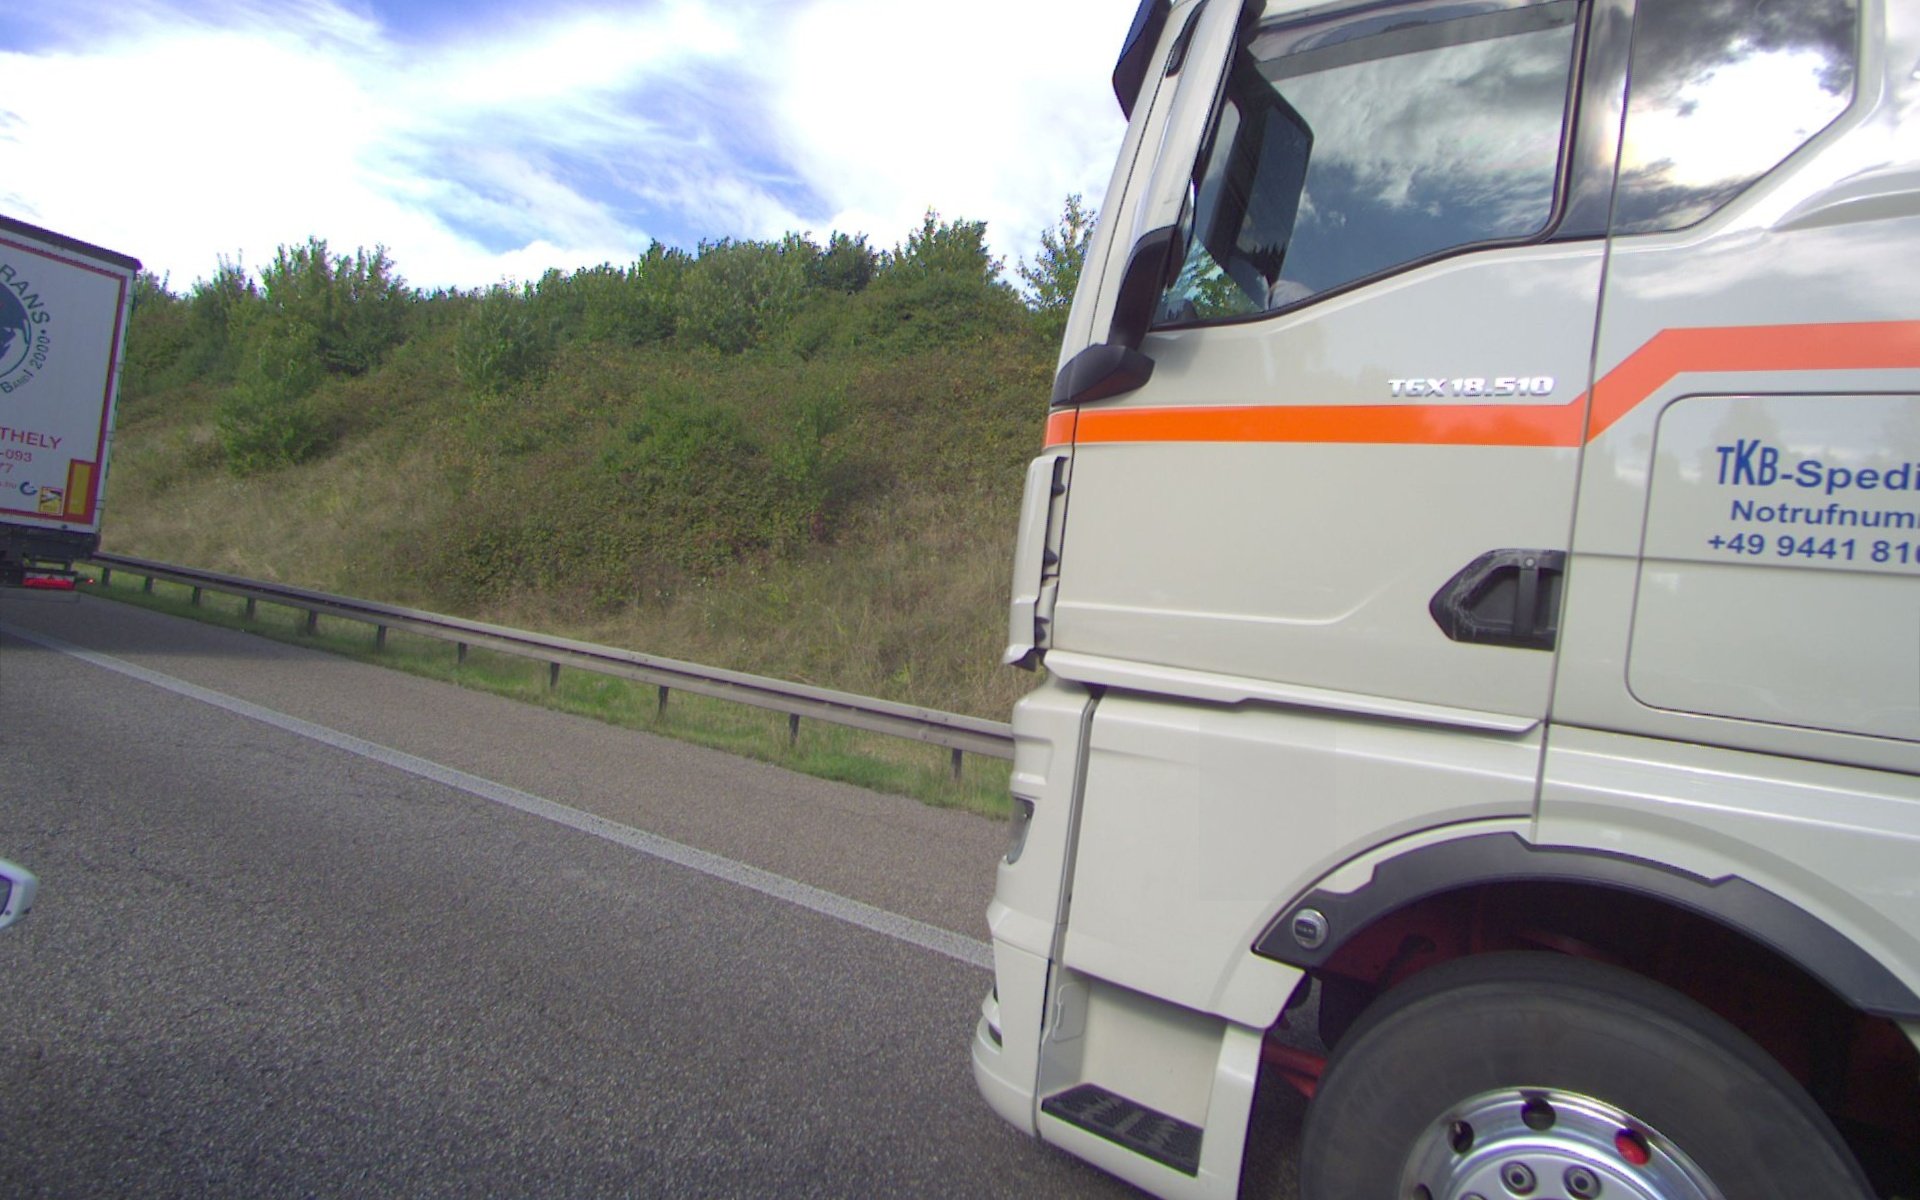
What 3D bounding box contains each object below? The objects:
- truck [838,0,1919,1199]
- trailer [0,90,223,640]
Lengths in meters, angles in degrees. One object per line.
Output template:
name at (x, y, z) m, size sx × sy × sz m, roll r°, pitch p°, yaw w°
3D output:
truck at (3.112, -0.108, 2.025) m, size 5.807 × 4.091 × 2.807 m, roll 7°, pitch -1°, yaw 32°
trailer at (-14.099, -2.745, 12.284) m, size 13.067 × 4.715 × 3.008 m, roll 7°, pitch -1°, yaw 31°
